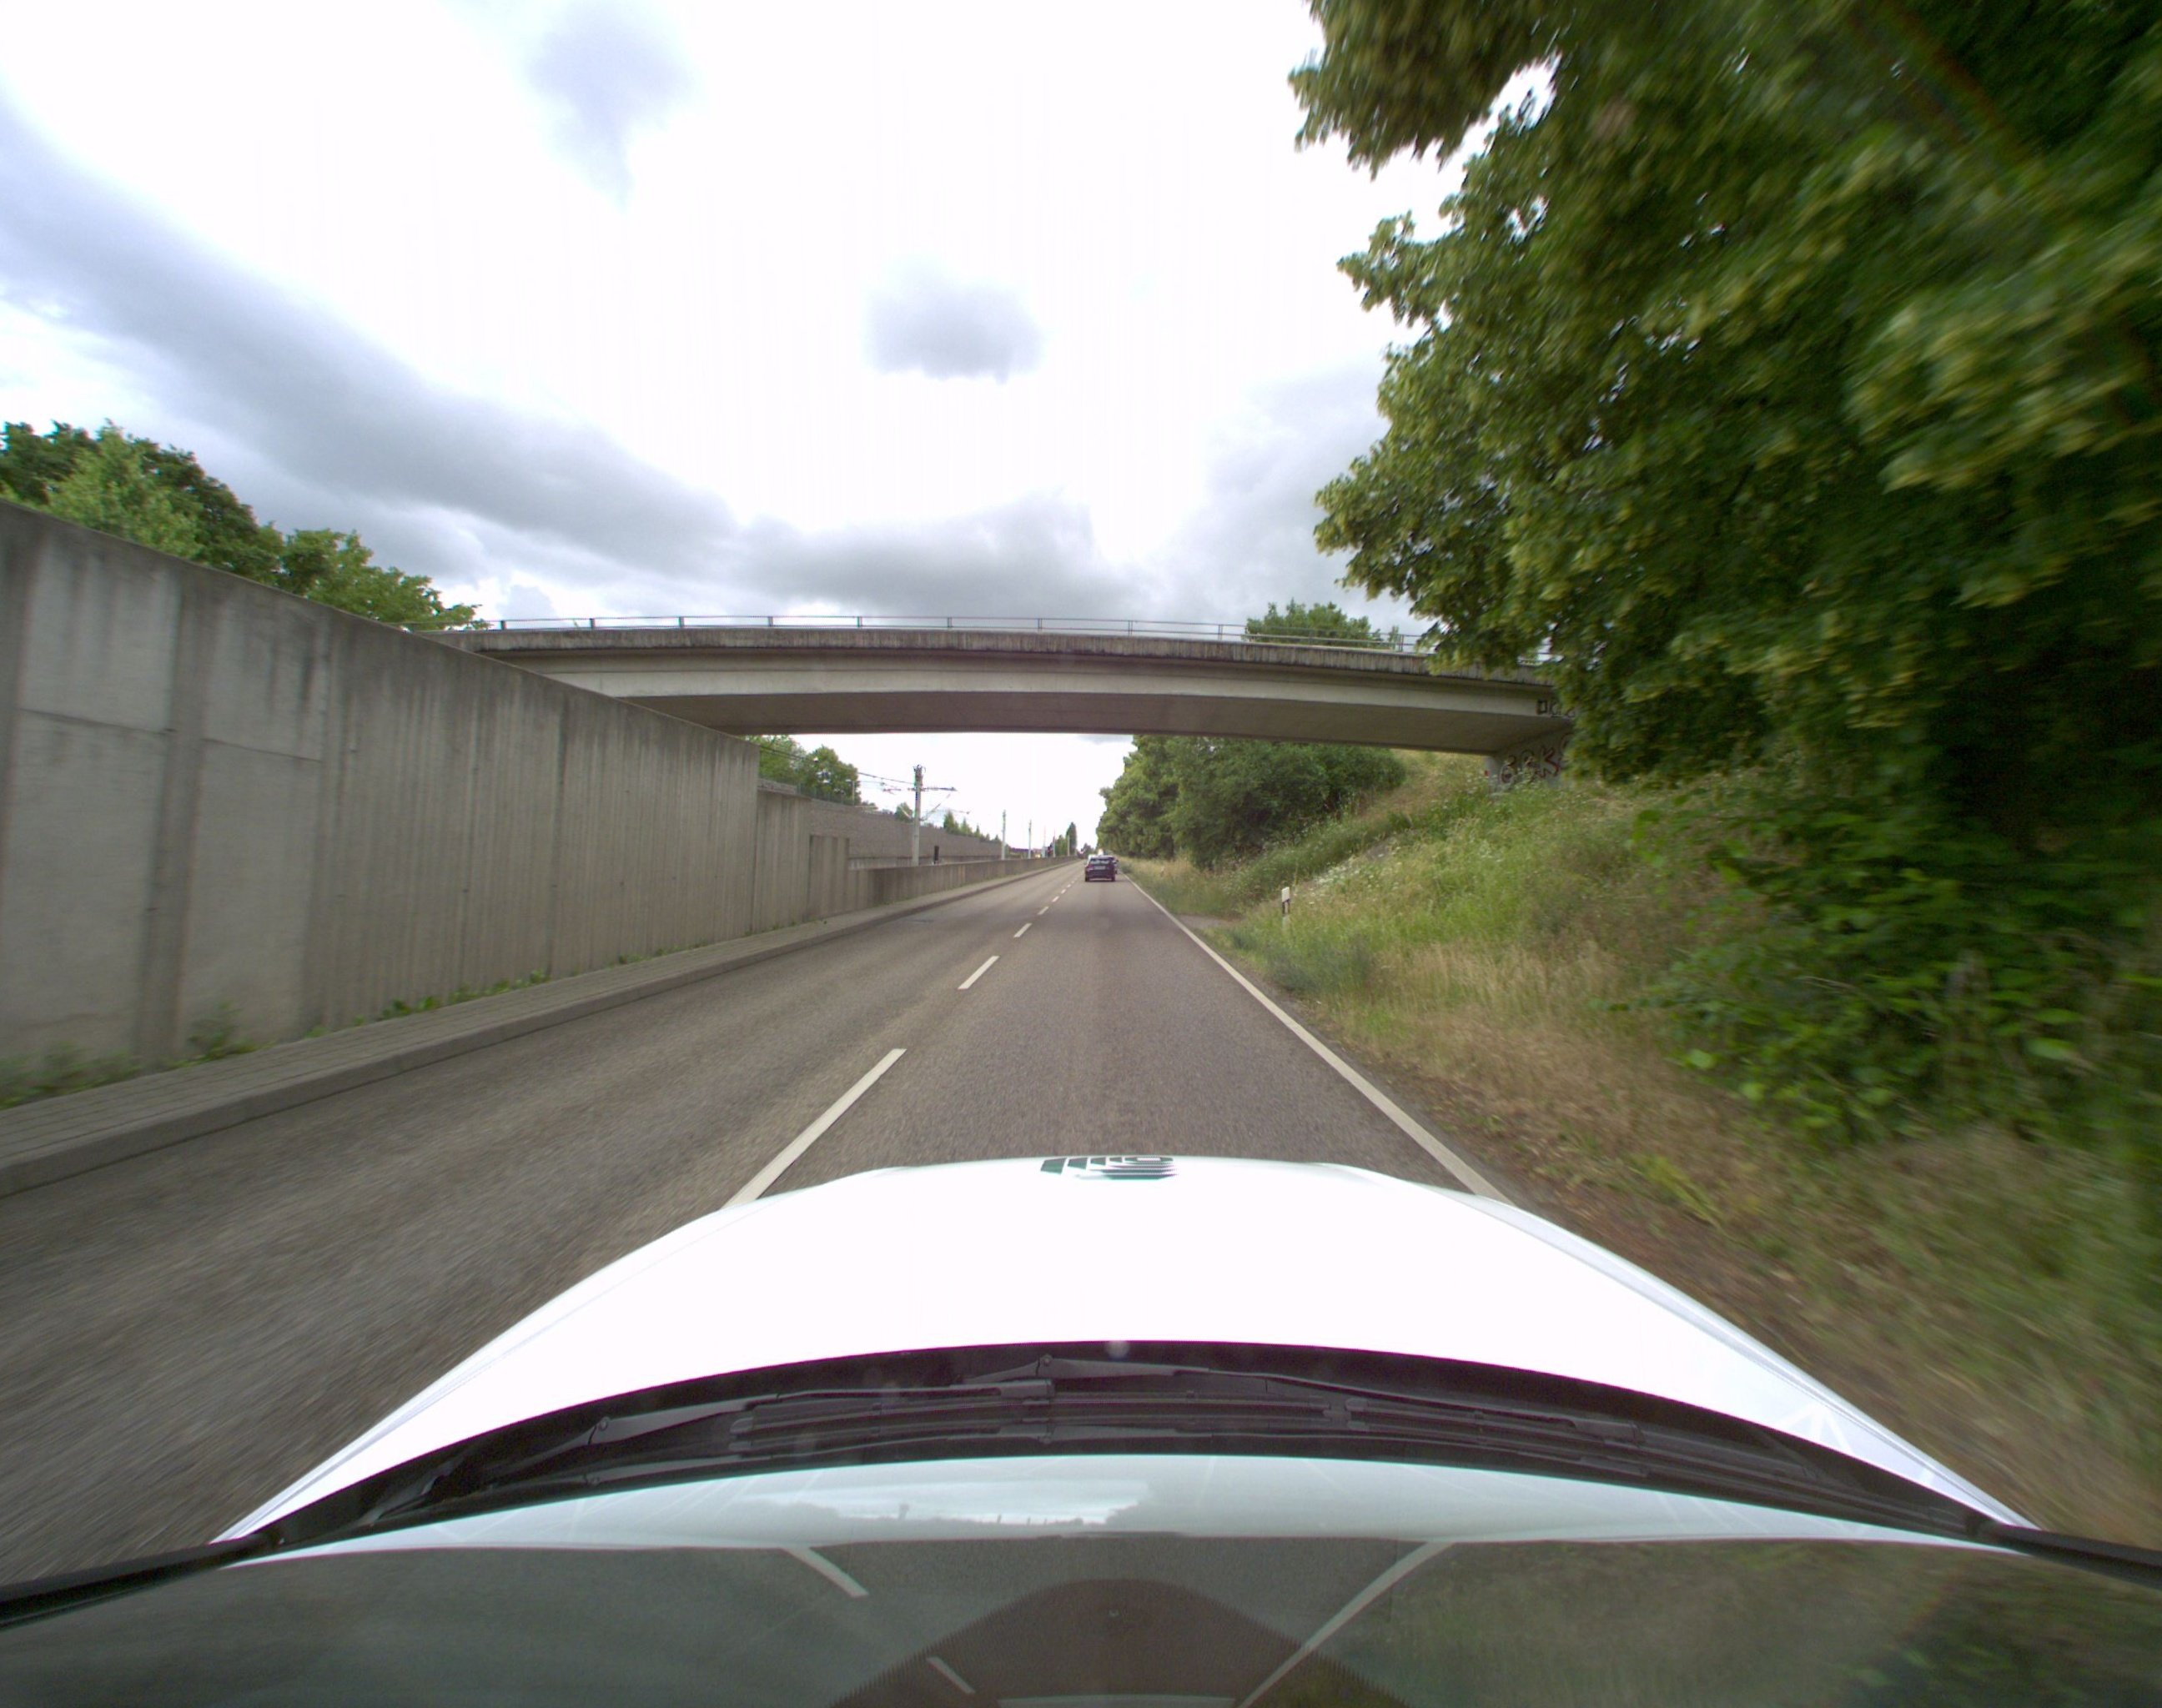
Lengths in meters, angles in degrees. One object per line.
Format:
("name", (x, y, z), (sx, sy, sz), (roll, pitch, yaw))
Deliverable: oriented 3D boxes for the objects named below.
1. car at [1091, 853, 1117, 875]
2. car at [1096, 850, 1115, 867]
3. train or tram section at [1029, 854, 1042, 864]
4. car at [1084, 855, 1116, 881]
("car", (1.851, 0.797, 65.888), (1.986, 1.753, 4.001), (0, 0, 1))
("car", (2.707, 0.532, 89.267), (1.986, 1.740, 4.001), (0, -1, 1))
("train or tram section", (-14.846, 1.690, 264.500), (2.809, 3.117, 18.866), (0, -1, -7))
("car", (1.137, 0.810, 47.668), (1.775, 1.468, 4.001), (0, 0, 1))
